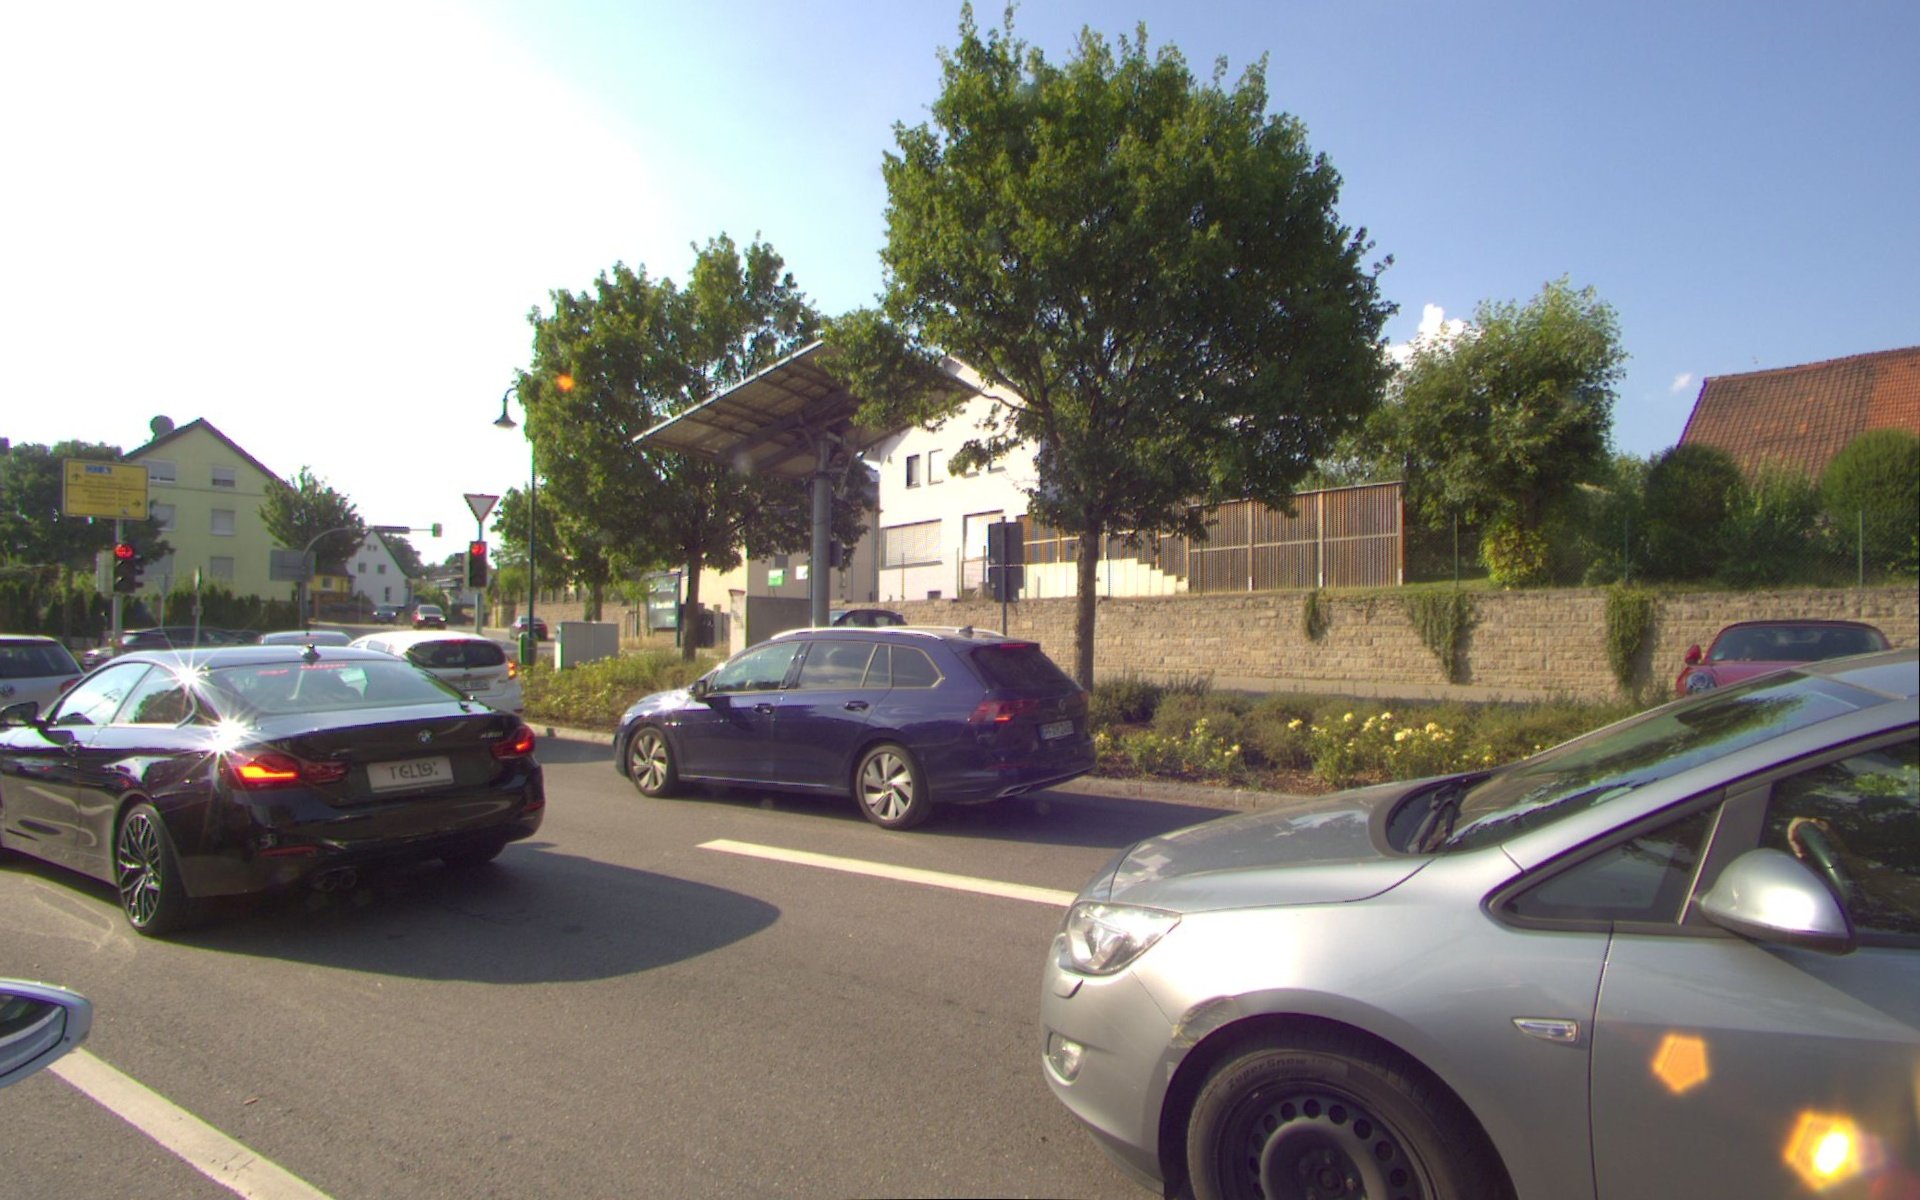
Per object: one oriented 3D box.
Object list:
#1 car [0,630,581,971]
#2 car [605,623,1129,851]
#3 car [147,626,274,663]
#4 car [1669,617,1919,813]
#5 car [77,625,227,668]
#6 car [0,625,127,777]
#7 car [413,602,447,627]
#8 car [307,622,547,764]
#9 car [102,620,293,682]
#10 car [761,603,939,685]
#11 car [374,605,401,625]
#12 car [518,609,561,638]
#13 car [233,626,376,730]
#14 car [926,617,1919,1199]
[{"bbox_3d":[-4.426,0.916,6.184,4.220,1.416,1.758,-1,0,33],"label":"car"},{"bbox_3d":[-0.897,0.947,8.487,4.257,1.472,1.758,-1,0,33],"label":"car"},{"bbox_3d":[-31.753,1.865,42.498,1.824,1.508,3.975,-1,-2,37],"label":"car"},{"bbox_3d":[8.234,0.955,9.743,1.758,1.510,4.120,-1,-2,41],"label":"car"},{"bbox_3d":[-30.063,1.718,37.362,1.821,1.508,3.983,-1,-2,30],"label":"car"},{"bbox_3d":[-10.797,1.013,10.777,3.848,1.444,1.758,-1,0,33],"label":"car"},{"bbox_3d":[-37.317,1.039,70.465,1.823,1.662,4.407,1,-2,-31],"label":"car"},{"bbox_3d":[-6.909,1.082,12.886,3.278,1.562,1.611,-1,0,40],"label":"car"},{"bbox_3d":[-22.854,1.472,30.152,1.945,1.701,4.188,-1,-1,36],"label":"car"},{"bbox_3d":[-2.368,0.964,22.296,1.758,1.653,3.800,-1,-2,40],"label":"car"},{"bbox_3d":[-51.636,1.399,90.362,1.821,1.761,4.764,1,-2,-27],"label":"car"},{"bbox_3d":[-25.262,1.397,60.250,1.936,1.701,4.207,0,-1,-17],"label":"car"},{"bbox_3d":[-11.744,1.272,17.812,1.643,1.562,4.362,0,0,-40],"label":"car"},{"bbox_3d":[2.182,0.785,2.160,4.256,1.472,1.758,-1,0,31],"label":"car"}]
